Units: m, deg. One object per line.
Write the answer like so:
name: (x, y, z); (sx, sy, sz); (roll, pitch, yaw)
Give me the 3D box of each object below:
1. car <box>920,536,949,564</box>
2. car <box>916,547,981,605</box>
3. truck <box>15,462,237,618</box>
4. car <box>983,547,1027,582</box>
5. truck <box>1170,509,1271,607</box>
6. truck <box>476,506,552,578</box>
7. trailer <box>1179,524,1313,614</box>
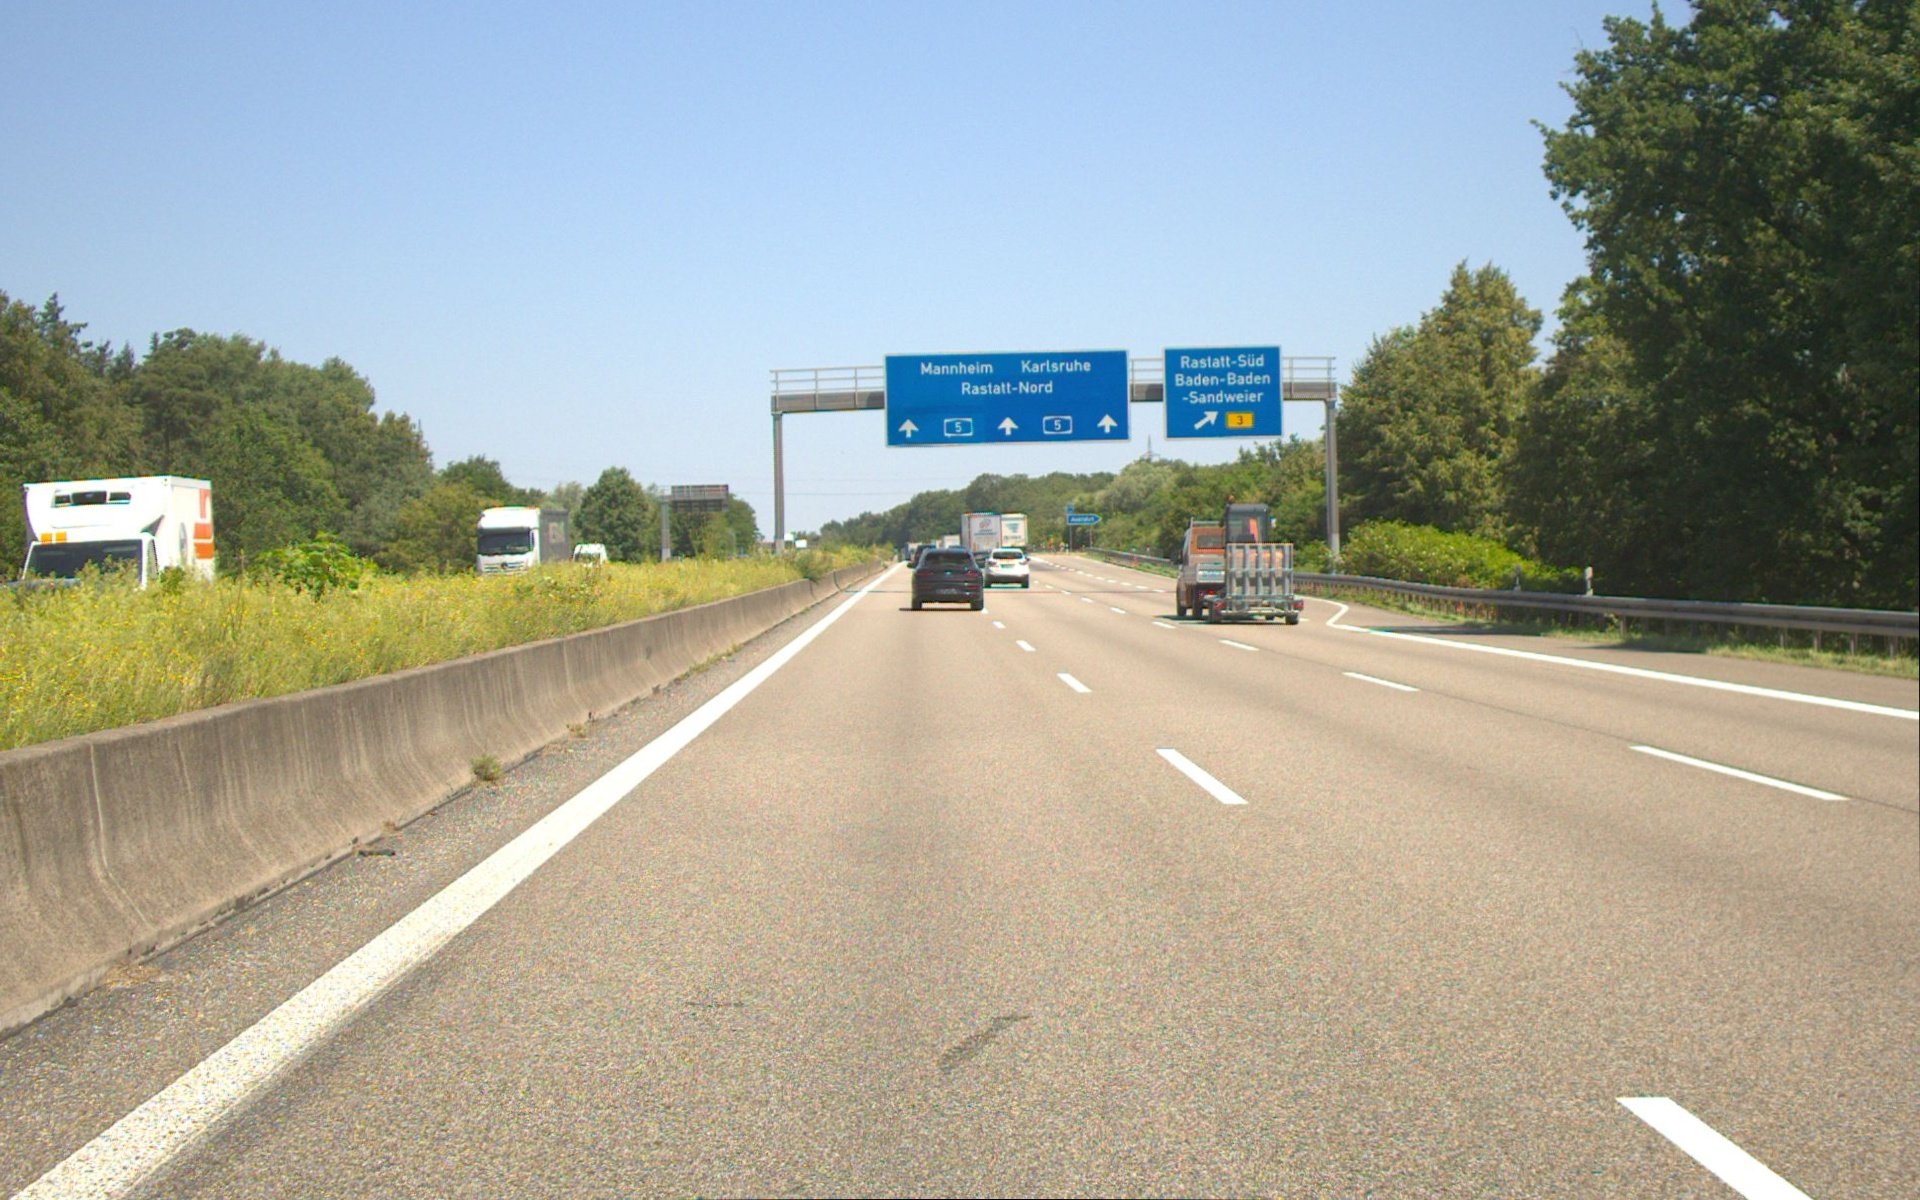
car: (-1.875, -3.647, 251.641); (1.993, 2.007, 4.000); (-2, 0, -1)
car: (-0.335, -0.678, 96.072); (1.660, 1.544, 3.783); (-1, 0, -2)
truck: (-13.113, -0.921, 54.461); (2.310, 2.318, 6.080); (0, 0, -3)
car: (1.888, -1.494, 145.184); (1.740, 1.481, 4.000); (0, 1, -1)
truck: (6.454, -1.056, 85.653); (1.993, 2.365, 4.645); (0, 1, -2)
truck: (-19.640, -2.552, 151.500); (2.642, 3.073, 5.848); (0, 1, -1)
trailer: (6.631, -0.749, 80.303); (2.420, 2.007, 6.034); (0, 1, -2)
